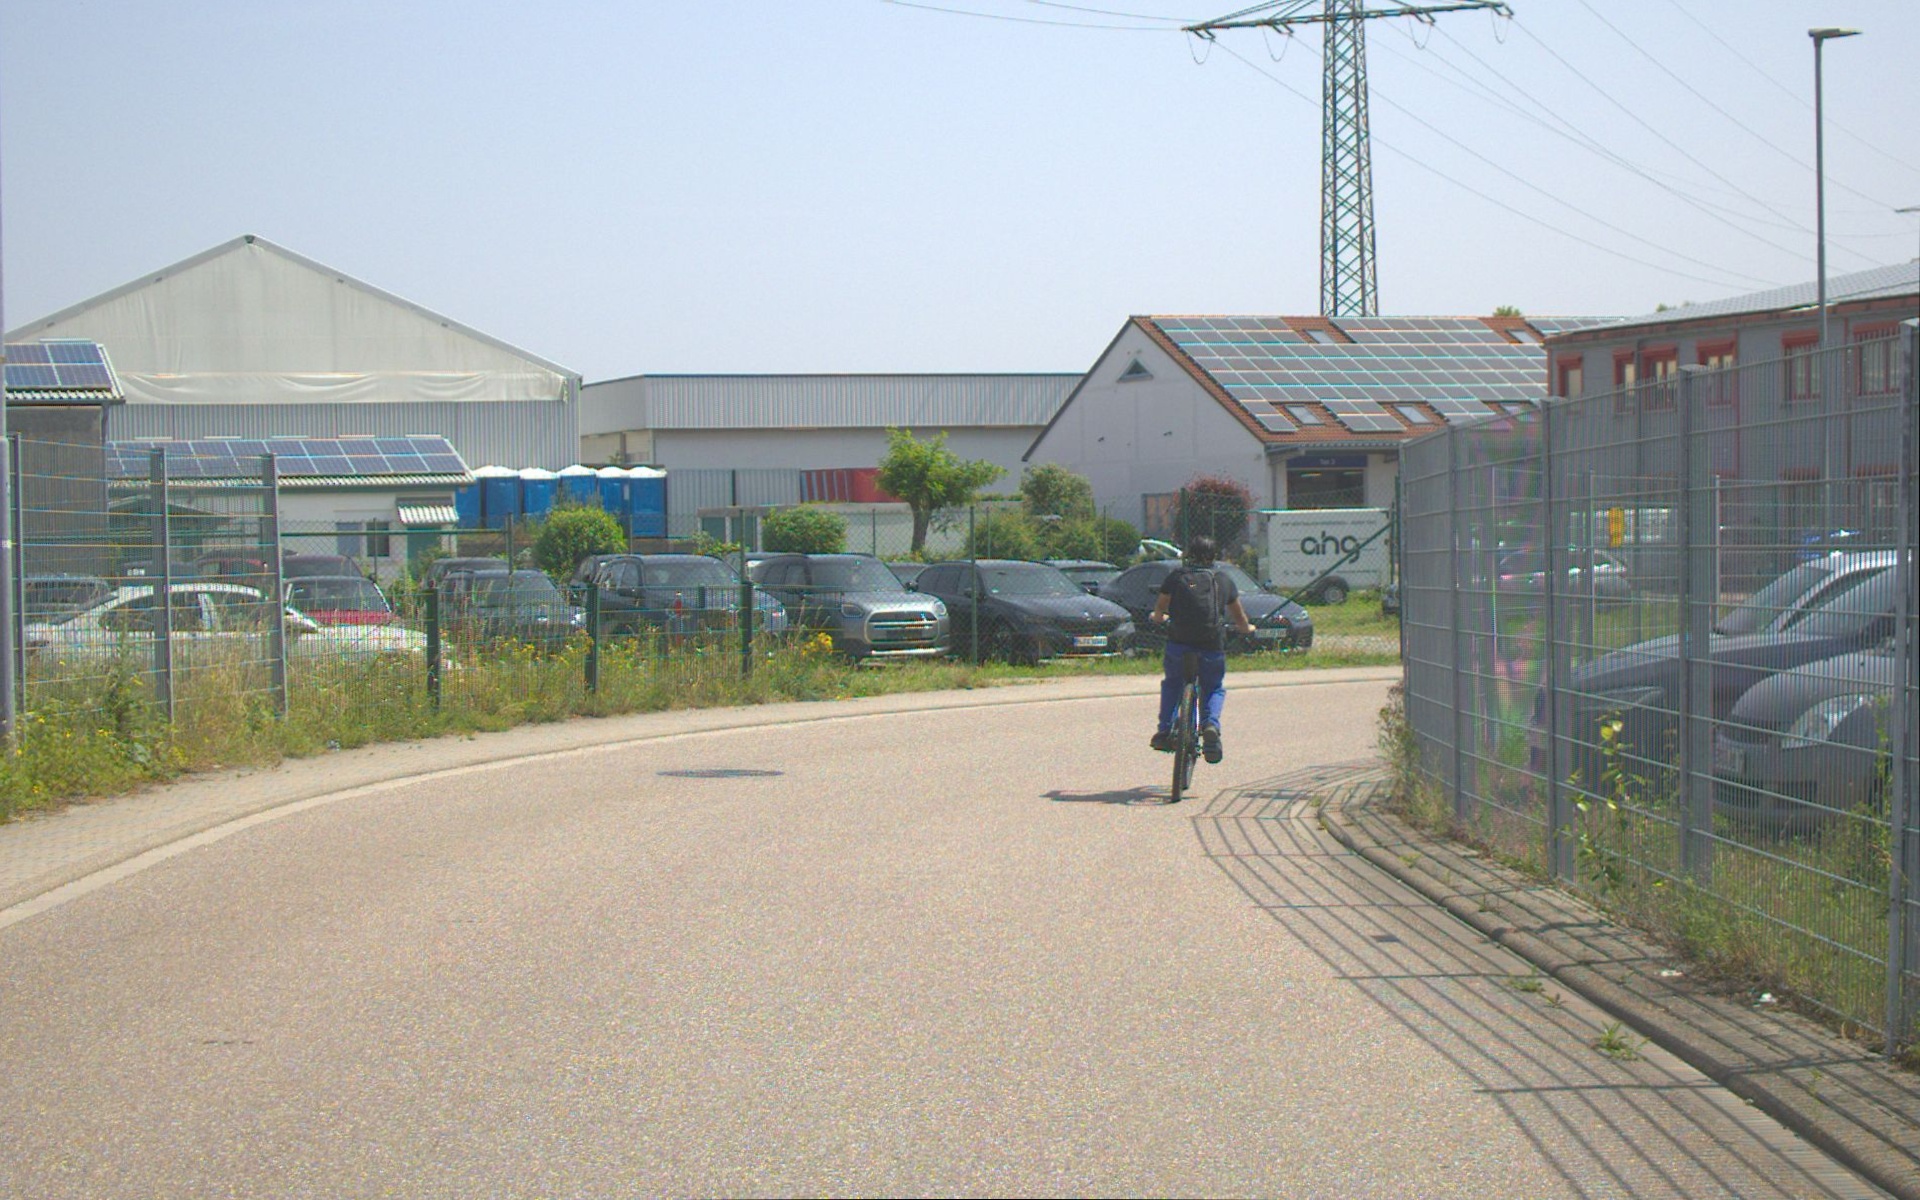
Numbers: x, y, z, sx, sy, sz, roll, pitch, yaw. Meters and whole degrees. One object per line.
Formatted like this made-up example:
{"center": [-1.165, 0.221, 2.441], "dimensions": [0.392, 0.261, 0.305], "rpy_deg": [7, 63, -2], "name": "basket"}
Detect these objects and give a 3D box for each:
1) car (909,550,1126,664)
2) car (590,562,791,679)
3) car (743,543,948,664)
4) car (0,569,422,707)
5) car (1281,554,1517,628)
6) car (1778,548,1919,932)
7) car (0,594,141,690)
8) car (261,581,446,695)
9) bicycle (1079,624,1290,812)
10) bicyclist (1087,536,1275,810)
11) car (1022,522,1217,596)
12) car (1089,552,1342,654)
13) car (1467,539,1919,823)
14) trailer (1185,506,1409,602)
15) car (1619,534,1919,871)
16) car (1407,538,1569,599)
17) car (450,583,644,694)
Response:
{"center": [0.780, 0.067, 49.343], "dimensions": [1.862, 1.549, 3.771], "rpy_deg": [-1, 1, -20], "name": "car"}
{"center": [-3.826, 0.249, 48.326], "dimensions": [1.862, 1.556, 3.698], "rpy_deg": [-1, 1, -20], "name": "car"}
{"center": [-1.670, 0.027, 48.949], "dimensions": [1.862, 1.638, 3.635], "rpy_deg": [-1, 1, -20], "name": "car"}
{"center": [-7.916, 0.363, 35.003], "dimensions": [4.546, 1.302, 1.869], "rpy_deg": [-1, 1, -20], "name": "car"}
{"center": [7.945, -0.181, 62.215], "dimensions": [4.127, 1.256, 1.235], "rpy_deg": [-1, 1, -21], "name": "car"}
{"center": [5.405, 0.540, 13.974], "dimensions": [3.648, 1.472, 1.752], "rpy_deg": [0, -1, -8], "name": "car"}
{"center": [-13.185, 0.591, 50.196], "dimensions": [1.862, 1.294, 3.442], "rpy_deg": [-1, 1, -22], "name": "car"}
{"center": [-8.233, 0.481, 46.451], "dimensions": [1.862, 1.448, 3.442], "rpy_deg": [-1, 1, -20], "name": "car"}
{"center": [1.405, 0.700, 21.189], "dimensions": [0.686, 1.048, 1.898], "rpy_deg": [1, 1, 24], "name": "bicycle"}
{"center": [1.360, 0.420, 21.030], "dimensions": [0.843, 1.613, 1.038], "rpy_deg": [1, 1, 22], "name": "bicyclist"}
{"center": [3.592, -0.933, 77.620], "dimensions": [3.986, 1.593, 1.877], "rpy_deg": [-1, 1, -18], "name": "car"}
{"center": [3.740, 0.016, 51.284], "dimensions": [1.995, 1.430, 4.667], "rpy_deg": [-1, 1, -20], "name": "car"}
{"center": [5.198, 0.404, 18.941], "dimensions": [4.536, 1.469, 1.825], "rpy_deg": [0, 1, 0], "name": "car"}
{"center": [7.108, -0.981, 72.714], "dimensions": [4.447, 1.938, 1.715], "rpy_deg": [-1, 1, -5], "name": "trailer"}
{"center": [5.093, 0.433, 16.307], "dimensions": [3.538, 1.497, 1.712], "rpy_deg": [-1, 1, -3], "name": "car"}
{"center": [13.634, -0.818, 88.762], "dimensions": [3.893, 1.510, 1.508], "rpy_deg": [-1, 1, -21], "name": "car"}
{"center": [-5.762, 0.498, 47.665], "dimensions": [1.862, 1.428, 3.650], "rpy_deg": [-1, 1, -20], "name": "car"}
